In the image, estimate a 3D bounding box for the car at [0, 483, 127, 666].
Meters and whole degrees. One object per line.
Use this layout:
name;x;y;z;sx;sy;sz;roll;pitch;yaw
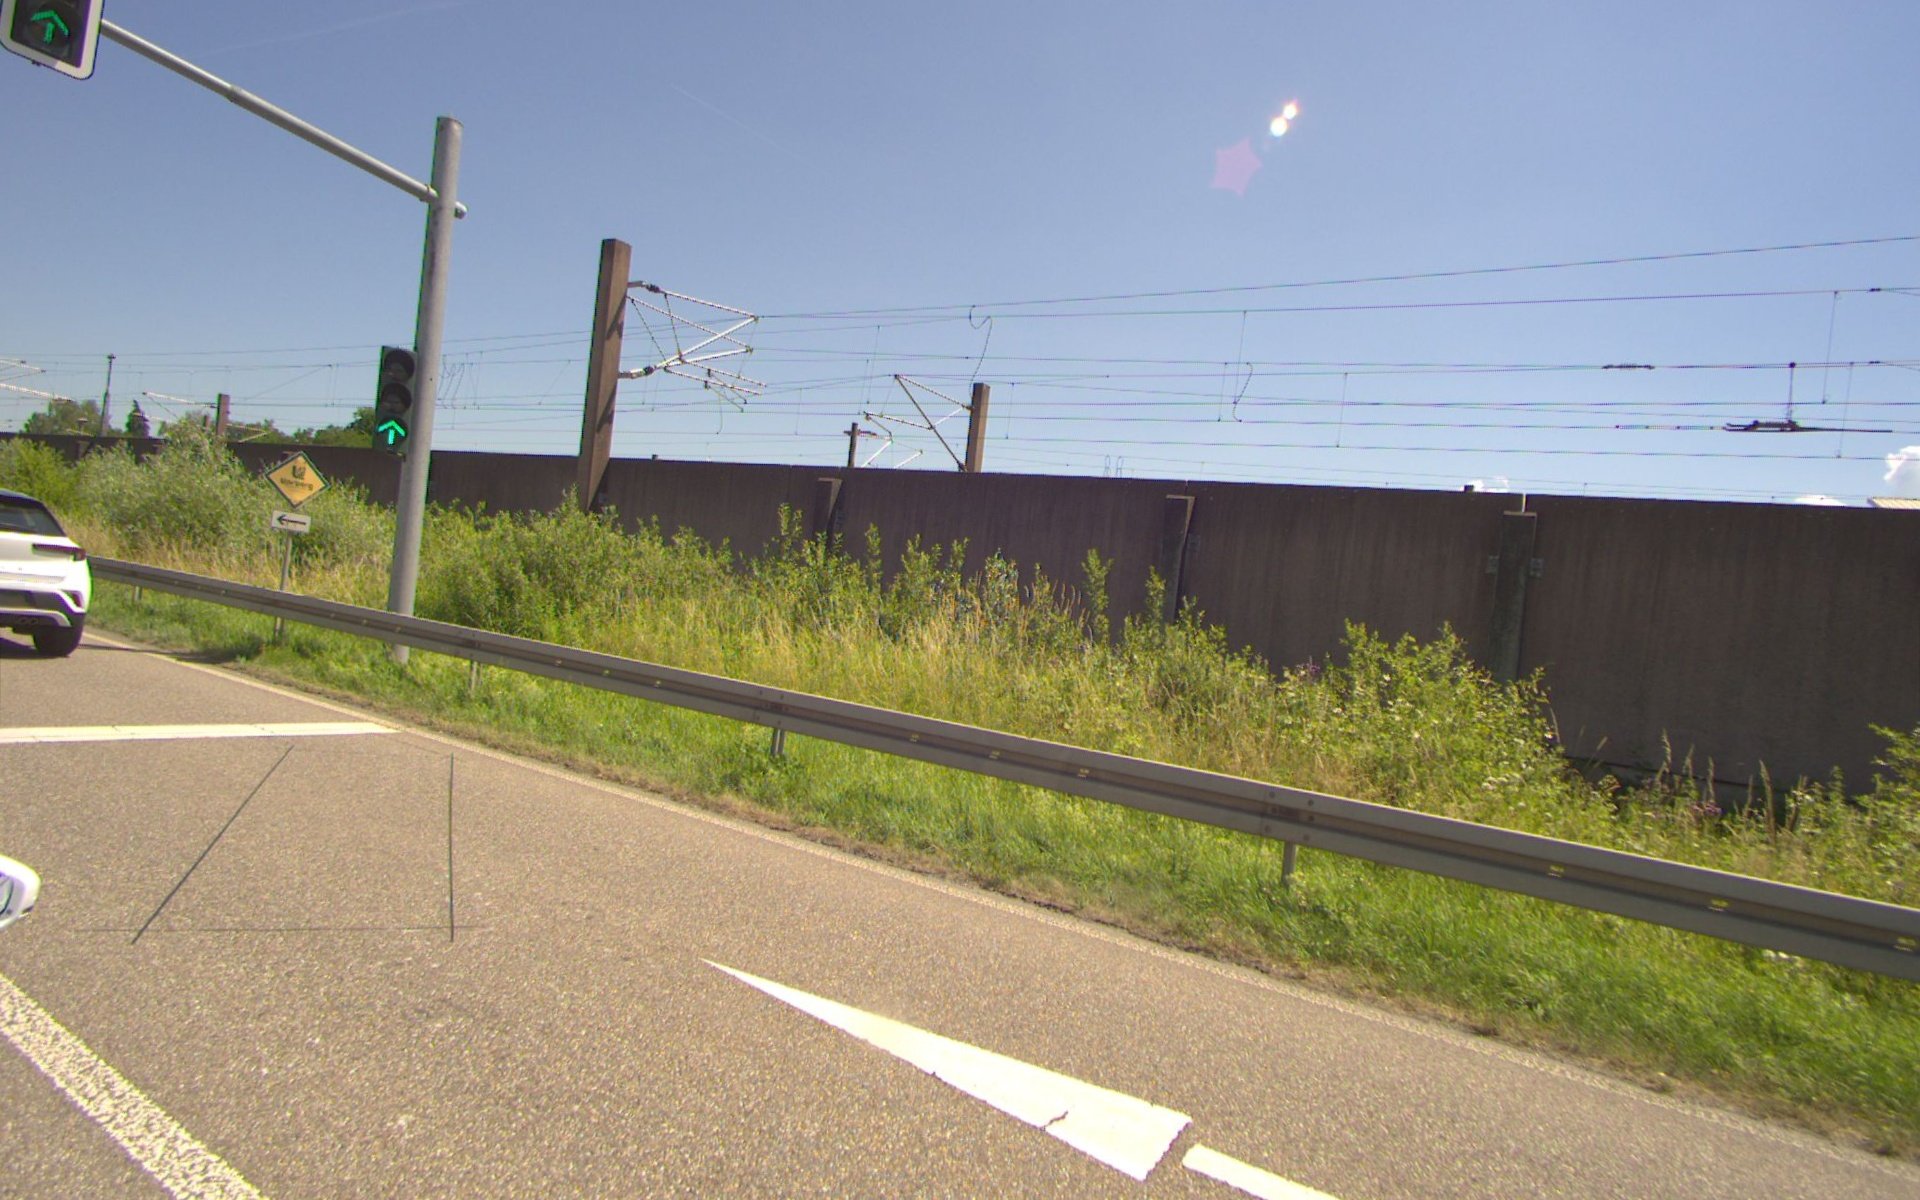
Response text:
car;-10.257;-0.452;9.787;4.205;1.582;1.822;7;-1;29
